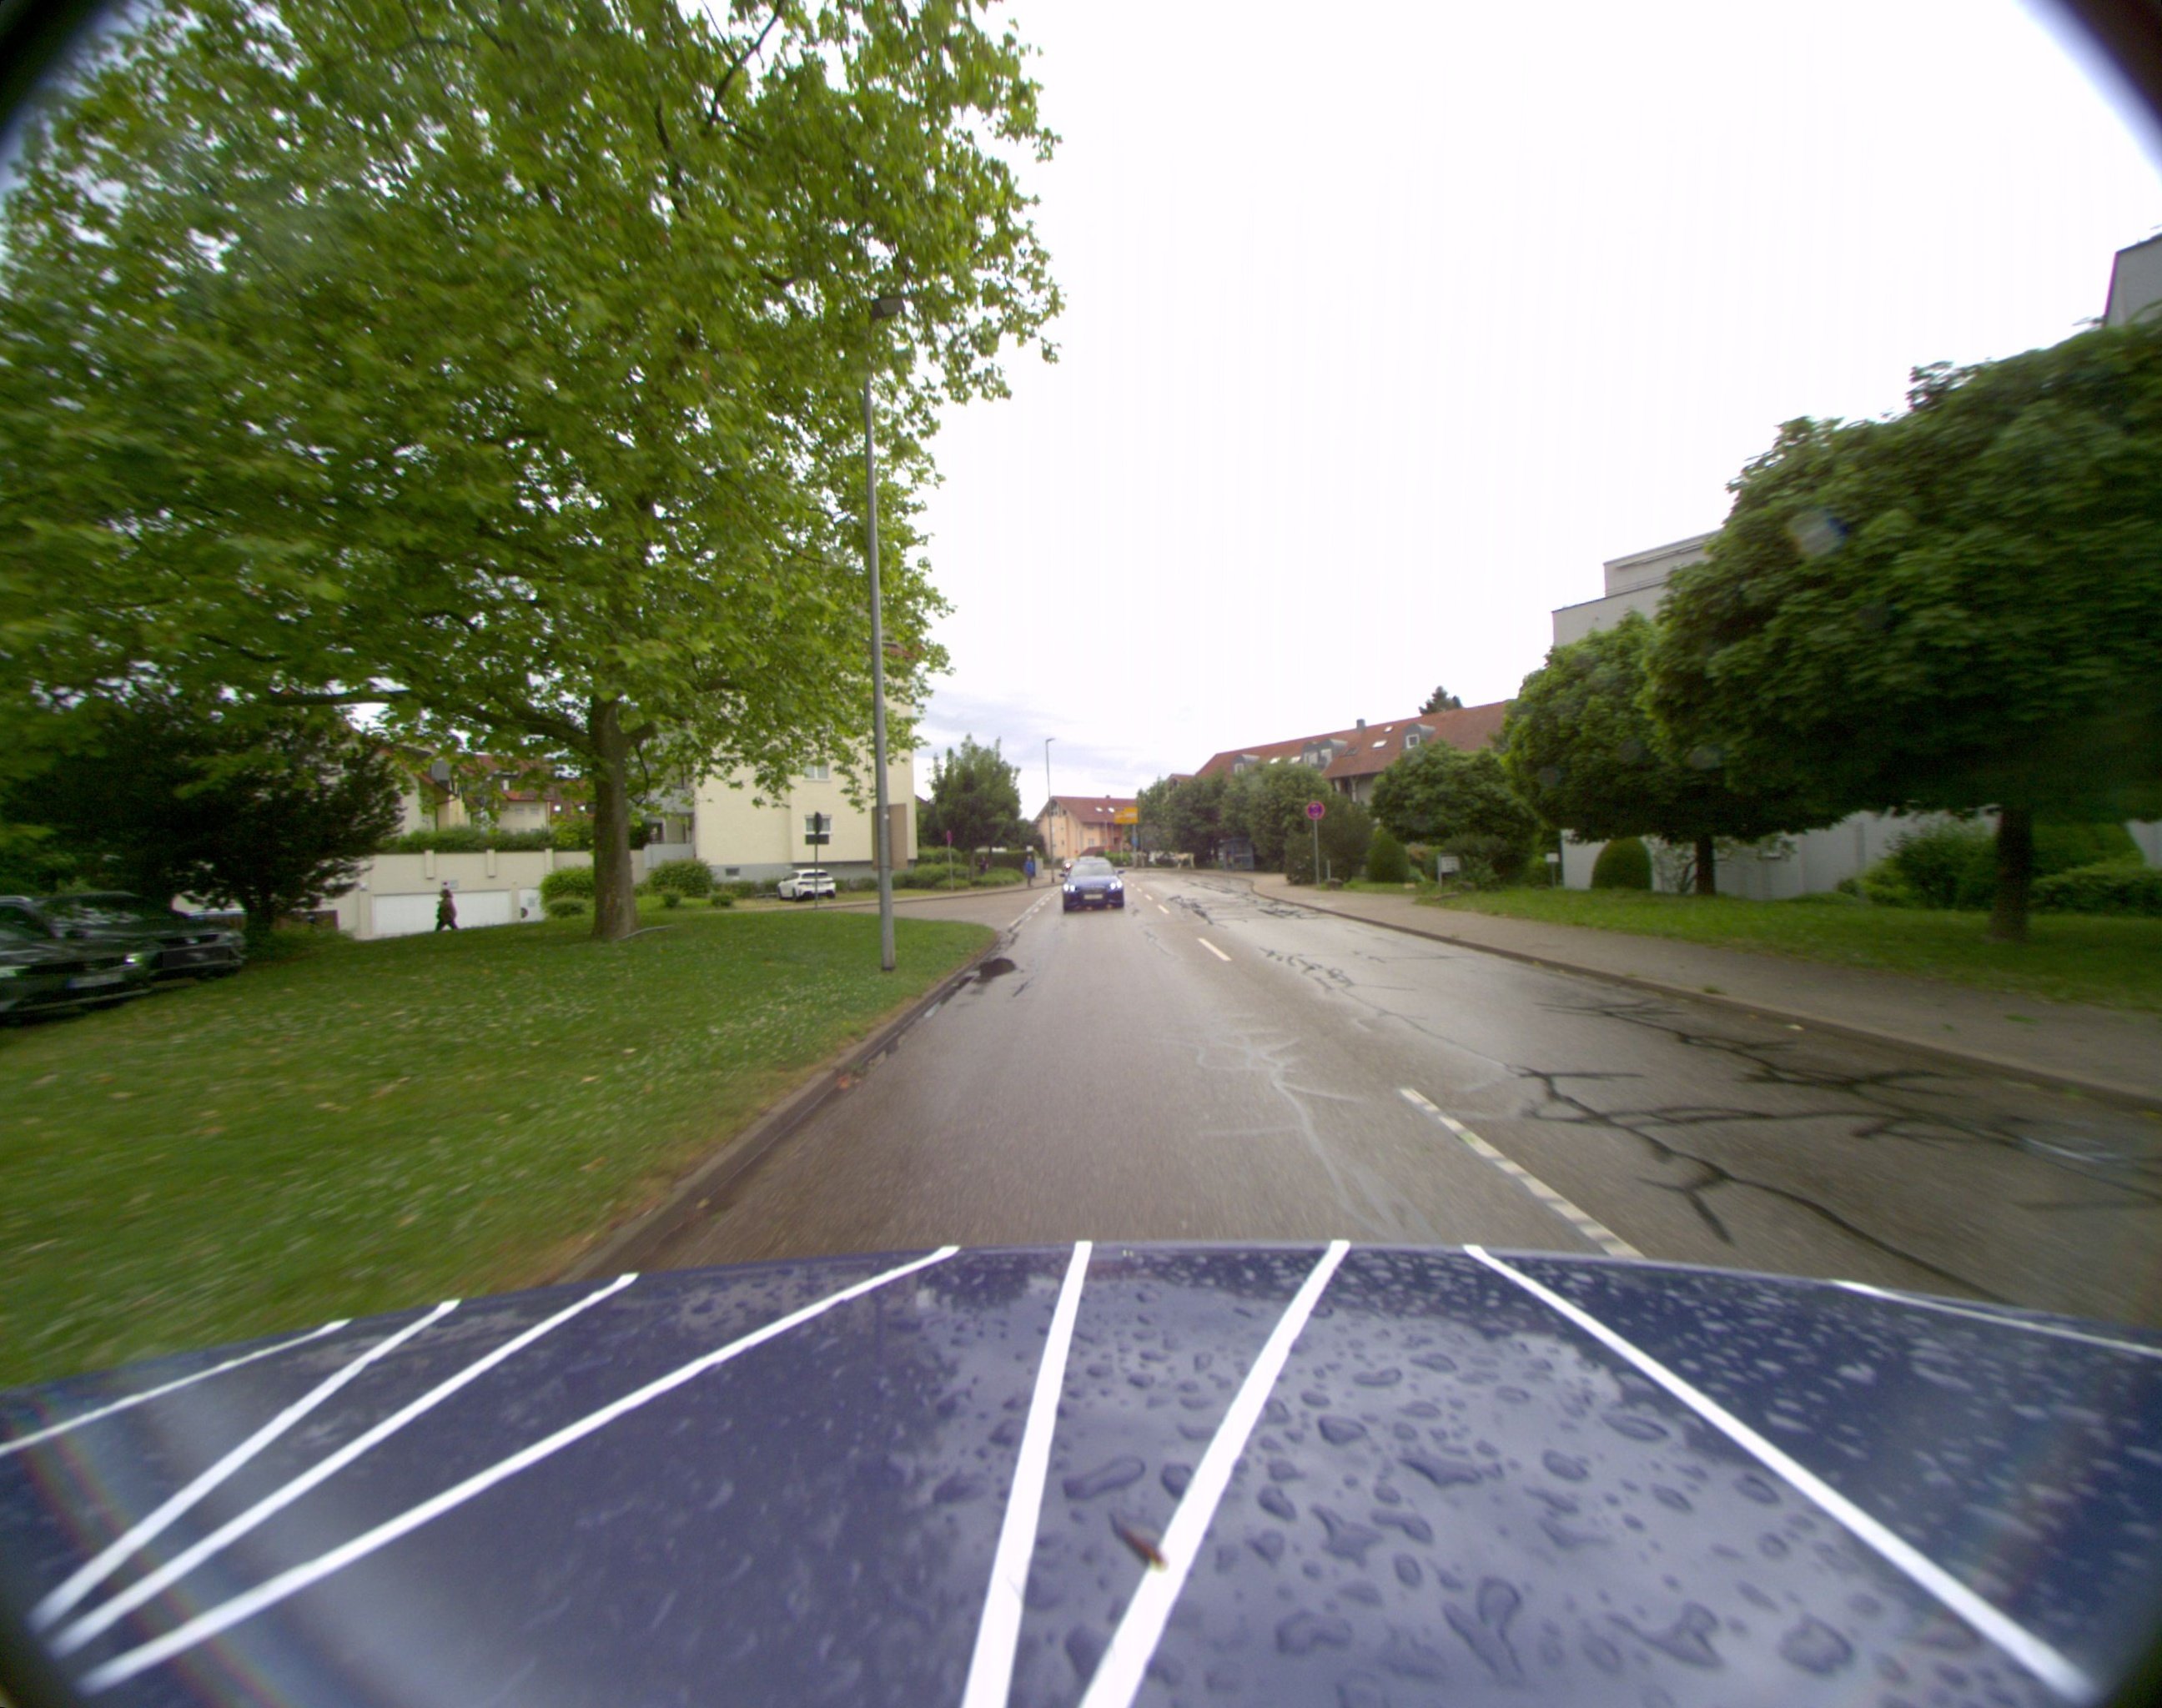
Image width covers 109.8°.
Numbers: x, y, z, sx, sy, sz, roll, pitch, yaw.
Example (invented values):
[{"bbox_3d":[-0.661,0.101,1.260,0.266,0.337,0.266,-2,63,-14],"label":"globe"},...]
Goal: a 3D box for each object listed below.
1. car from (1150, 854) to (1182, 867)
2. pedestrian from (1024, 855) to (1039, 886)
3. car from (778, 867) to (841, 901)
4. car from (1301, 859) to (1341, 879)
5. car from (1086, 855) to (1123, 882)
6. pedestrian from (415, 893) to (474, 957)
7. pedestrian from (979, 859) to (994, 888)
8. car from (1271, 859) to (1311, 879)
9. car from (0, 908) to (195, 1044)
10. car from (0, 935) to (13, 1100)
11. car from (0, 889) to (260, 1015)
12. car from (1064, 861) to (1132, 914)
[{"bbox_3d":[10.775,0.863,96.504,1.741,1.592,3.989,-1,0,-40],"label":"car"},{"bbox_3d":[-2.740,0.897,41.753,0.591,1.656,0.774,-3,1,-15],"label":"pedestrian"},{"bbox_3d":[-12.758,1.360,35.584,1.749,1.472,3.759,-1,0,-36],"label":"car"},{"bbox_3d":[18.952,1.139,60.185,1.615,1.455,3.998,-3,0,-4],"label":"car"},{"bbox_3d":[1.442,0.850,45.135,1.839,1.440,4.002,-2,0,6],"label":"car"},{"bbox_3d":[-16.728,1.846,19.966,0.736,1.574,0.952,-2,1,33],"label":"pedestrian"},{"bbox_3d":[-5.786,1.201,46.477,0.616,1.762,0.669,-3,0,-23],"label":"pedestrian"},{"bbox_3d":[16.542,1.150,60.098,1.774,1.455,3.998,-3,0,-4],"label":"car"},{"bbox_3d":[-13.696,1.442,9.022,4.021,1.363,1.764,-1,0,-4],"label":"car"},{"bbox_3d":[-11.406,1.478,5.678,4.021,1.434,1.764,-1,0,-4],"label":"car"},{"bbox_3d":[-15.311,1.426,11.590,4.287,1.617,1.766,-2,0,11],"label":"car"},{"bbox_3d":[0.473,0.994,24.149,1.913,1.425,4.300,-3,0,0],"label":"car"}]
